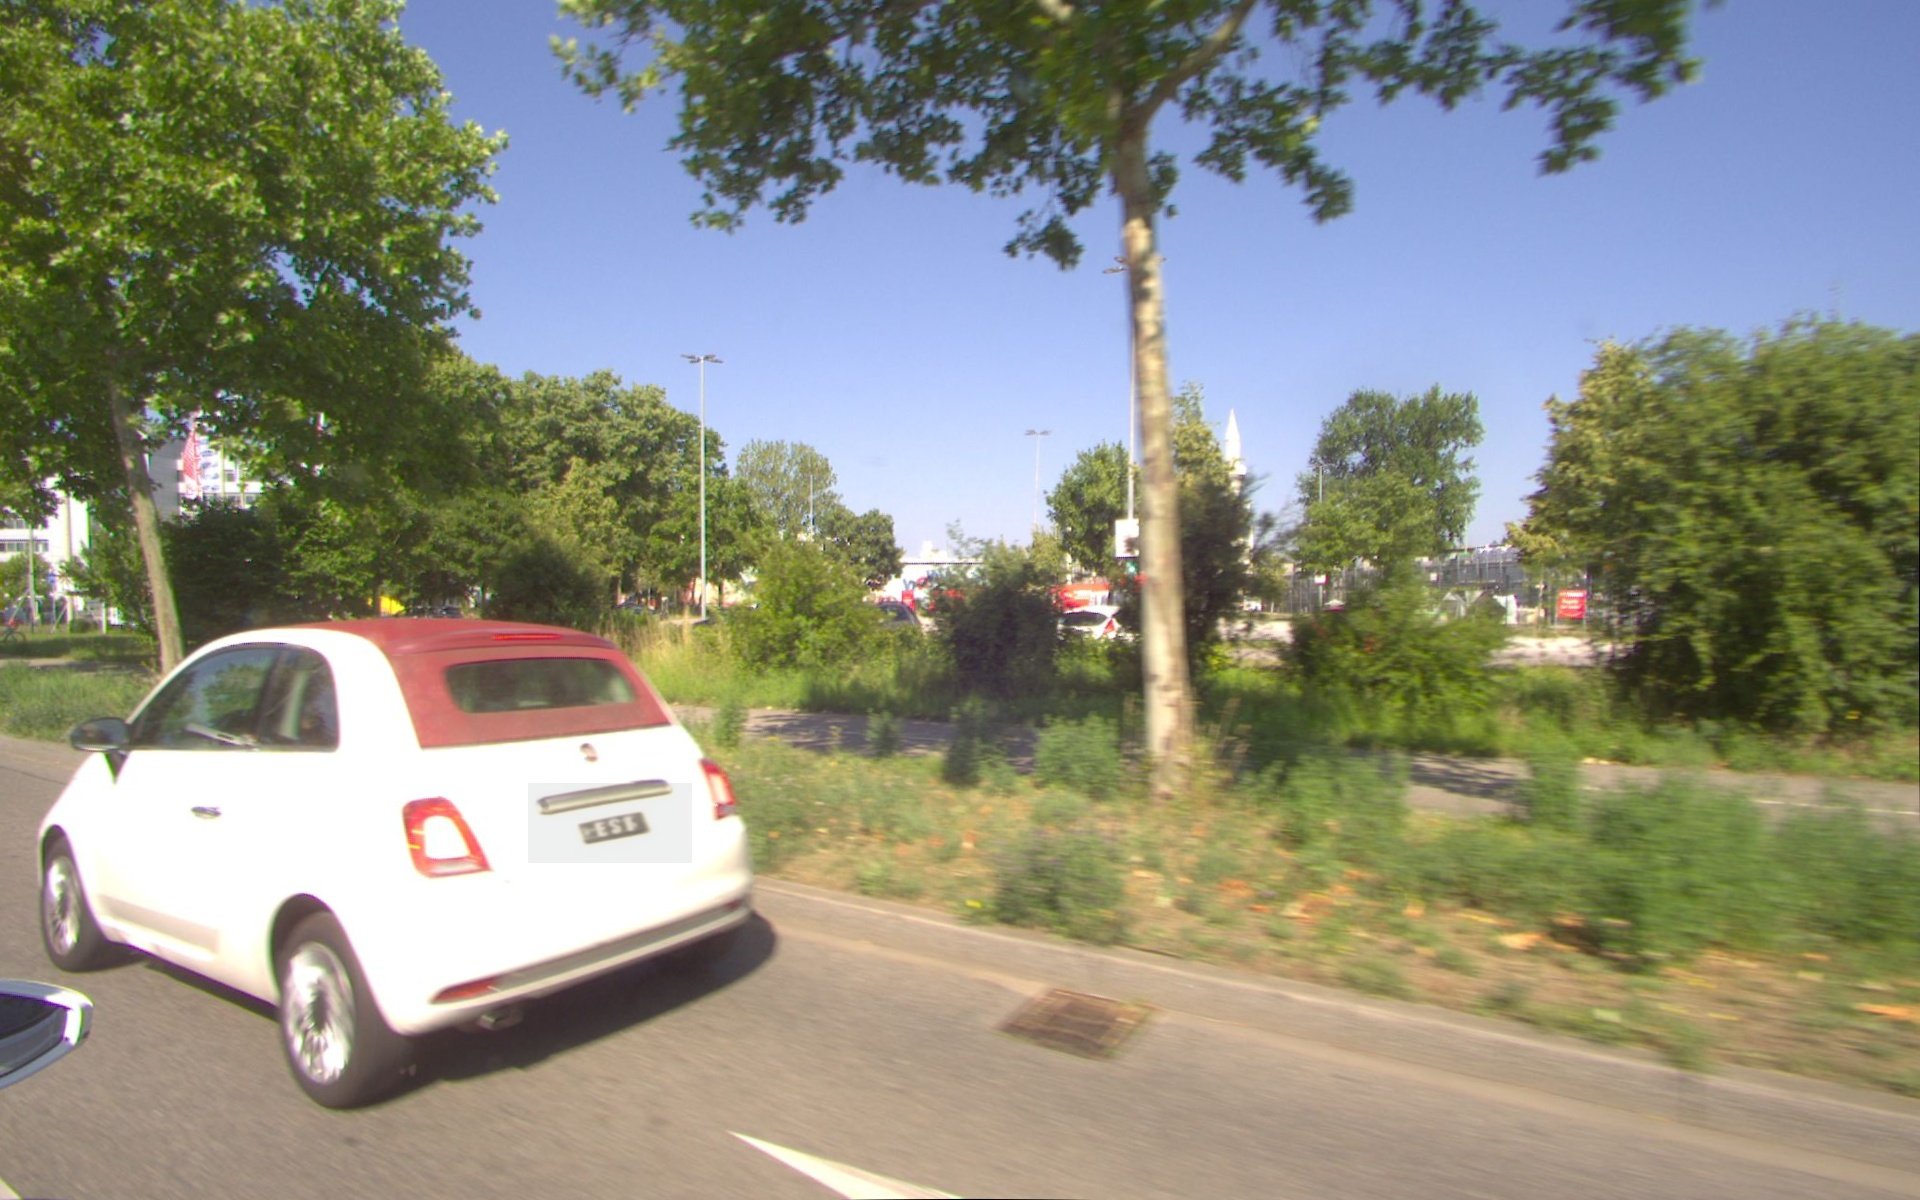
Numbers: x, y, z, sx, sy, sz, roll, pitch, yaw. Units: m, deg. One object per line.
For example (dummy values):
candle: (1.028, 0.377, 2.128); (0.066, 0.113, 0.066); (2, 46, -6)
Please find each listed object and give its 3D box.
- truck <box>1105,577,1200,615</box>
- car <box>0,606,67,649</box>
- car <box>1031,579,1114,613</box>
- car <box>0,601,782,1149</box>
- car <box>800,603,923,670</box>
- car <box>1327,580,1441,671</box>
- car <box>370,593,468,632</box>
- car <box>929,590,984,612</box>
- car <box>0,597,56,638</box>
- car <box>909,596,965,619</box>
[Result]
truck: (17.070, -0.312, 89.091); (8.068, 3.290, 2.000); (0, -1, -3)
car: (-38.377, 1.099, 39.875); (1.701, 1.683, 3.973); (-1, -2, 37)
car: (8.106, -0.266, 72.857); (5.822, 2.371, 2.115); (0, -1, 1)
car: (-2.611, 0.778, 4.335); (3.471, 1.455, 1.658); (-1, -2, 34)
car: (-2.643, 0.989, 27.558); (1.693, 1.718, 3.545); (-1, -2, 29)
car: (8.864, 0.536, 20.769); (1.663, 1.692, 3.815); (-1, -2, 31)
car: (-25.061, 0.610, 46.507); (3.681, 1.738, 1.766); (0, -1, -14)
car: (-0.302, 0.121, 89.145); (4.824, 1.906, 1.770); (0, -1, 1)
car: (-40.972, 0.745, 42.254); (1.701, 1.683, 3.973); (-1, -2, 37)
car: (-2.205, 0.719, 94.554); (5.188, 2.038, 2.002); (0, -3, -4)
